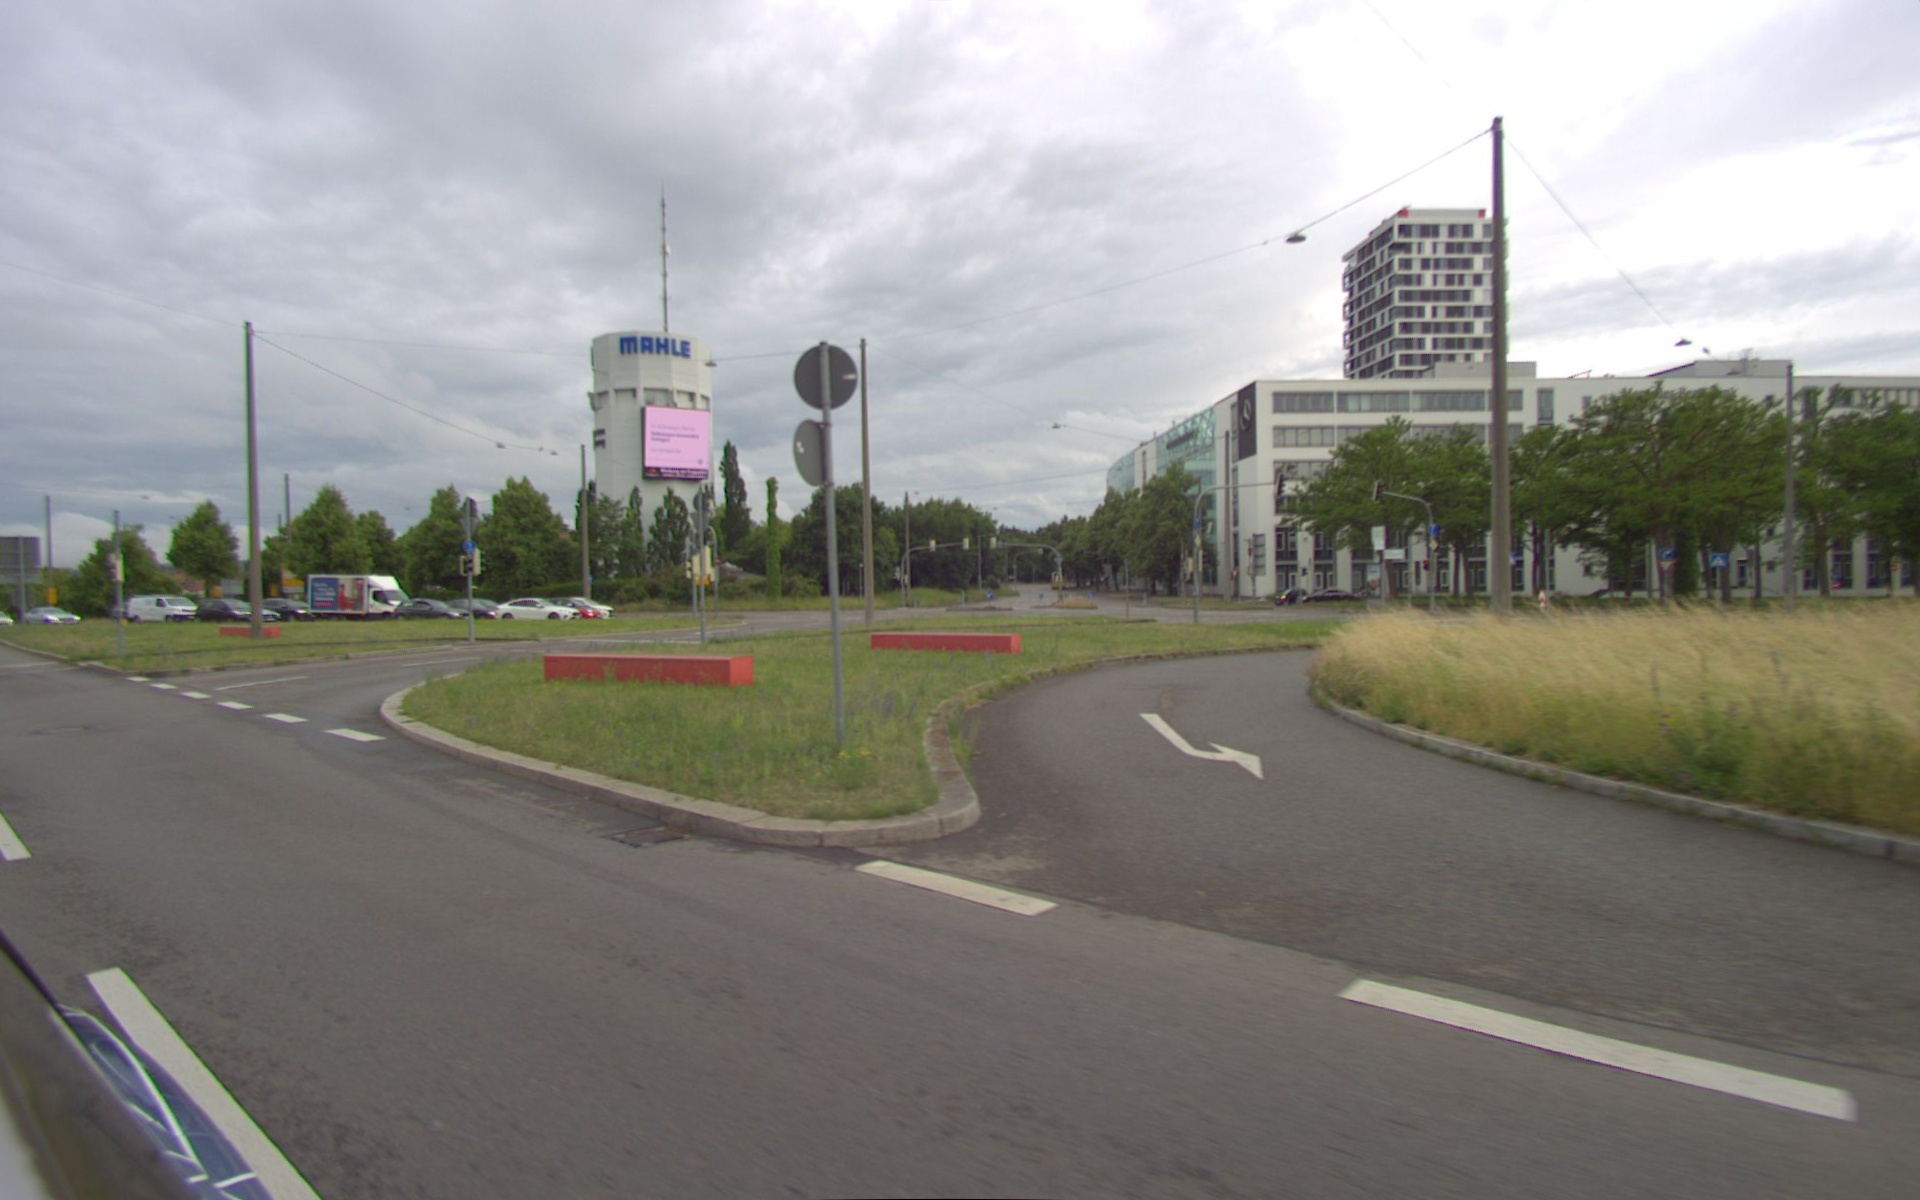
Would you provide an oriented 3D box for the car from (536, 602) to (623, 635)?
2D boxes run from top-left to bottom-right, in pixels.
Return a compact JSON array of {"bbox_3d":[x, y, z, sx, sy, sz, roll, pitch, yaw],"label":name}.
[{"bbox_3d":[-23.104,1.117,61.505,4.462,1.695,1.998,-3,2,4],"label":"car"}]

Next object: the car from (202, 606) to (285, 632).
[{"bbox_3d":[-44.820,1.185,63.285,4.496,1.320,1.988,-2,2,20],"label":"car"}]

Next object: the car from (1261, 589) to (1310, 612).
[{"bbox_3d":[27.779,0.049,86.356,3.650,1.688,1.906,-4,2,-26],"label":"car"}]

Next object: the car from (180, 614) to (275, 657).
[{"bbox_3d":[-42.613,2.053,58.863,5.135,2.197,1.986,-2,2,23],"label":"car"}]

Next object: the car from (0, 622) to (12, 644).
[{"bbox_3d":[-85.318,2.971,88.668,3.978,1.796,1.983,-2,2,26],"label":"car"}]

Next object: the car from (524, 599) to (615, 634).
[{"bbox_3d":[-22.628,0.970,58.707,4.461,1.695,1.999,-3,2,3],"label":"car"}]

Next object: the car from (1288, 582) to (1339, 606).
[{"bbox_3d":[29.086,-0.491,83.191,3.650,1.688,1.906,-4,2,-26],"label":"car"}]

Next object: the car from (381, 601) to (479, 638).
[{"bbox_3d":[-28.855,1.072,55.167,4.475,1.695,1.992,-3,2,13],"label":"car"}]

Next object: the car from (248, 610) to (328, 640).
[{"bbox_3d":[-43.831,1.632,66.034,4.486,1.695,1.988,-2,2,20],"label":"car"}]

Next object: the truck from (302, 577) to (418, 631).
[{"bbox_3d":[-35.939,0.229,60.693,5.967,2.855,2.124,-3,2,11],"label":"truck"}]

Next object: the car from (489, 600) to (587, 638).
[{"bbox_3d":[-22.871,1.023,54.905,4.466,1.695,1.997,-3,2,6],"label":"car"}]

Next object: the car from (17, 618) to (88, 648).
[{"bbox_3d":[-63.863,2.327,71.208,5.146,1.814,1.982,-2,2,28],"label":"car"}]

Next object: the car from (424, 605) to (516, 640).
[{"bbox_3d":[-28.620,1.296,59.166,4.471,1.695,1.994,-3,2,10],"label":"car"}]

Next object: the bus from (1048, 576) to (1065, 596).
[{"bbox_3d":[18.138,-2.720,190.848,2.823,3.351,8.881,-3,2,3],"label":"bus"}]

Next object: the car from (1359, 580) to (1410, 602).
[{"bbox_3d":[36.253,-0.801,86.393,3.650,1.688,1.906,-4,2,-19],"label":"car"}]

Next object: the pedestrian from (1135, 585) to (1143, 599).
[{"bbox_3d":[27.225,-1.173,153.992,1.025,2.028,0.835,-2,2,13],"label":"pedestrian"}]

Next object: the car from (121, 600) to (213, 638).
[{"bbox_3d":[-51.638,1.237,65.909,5.273,2.197,2.358,-2,2,23],"label":"car"}]
